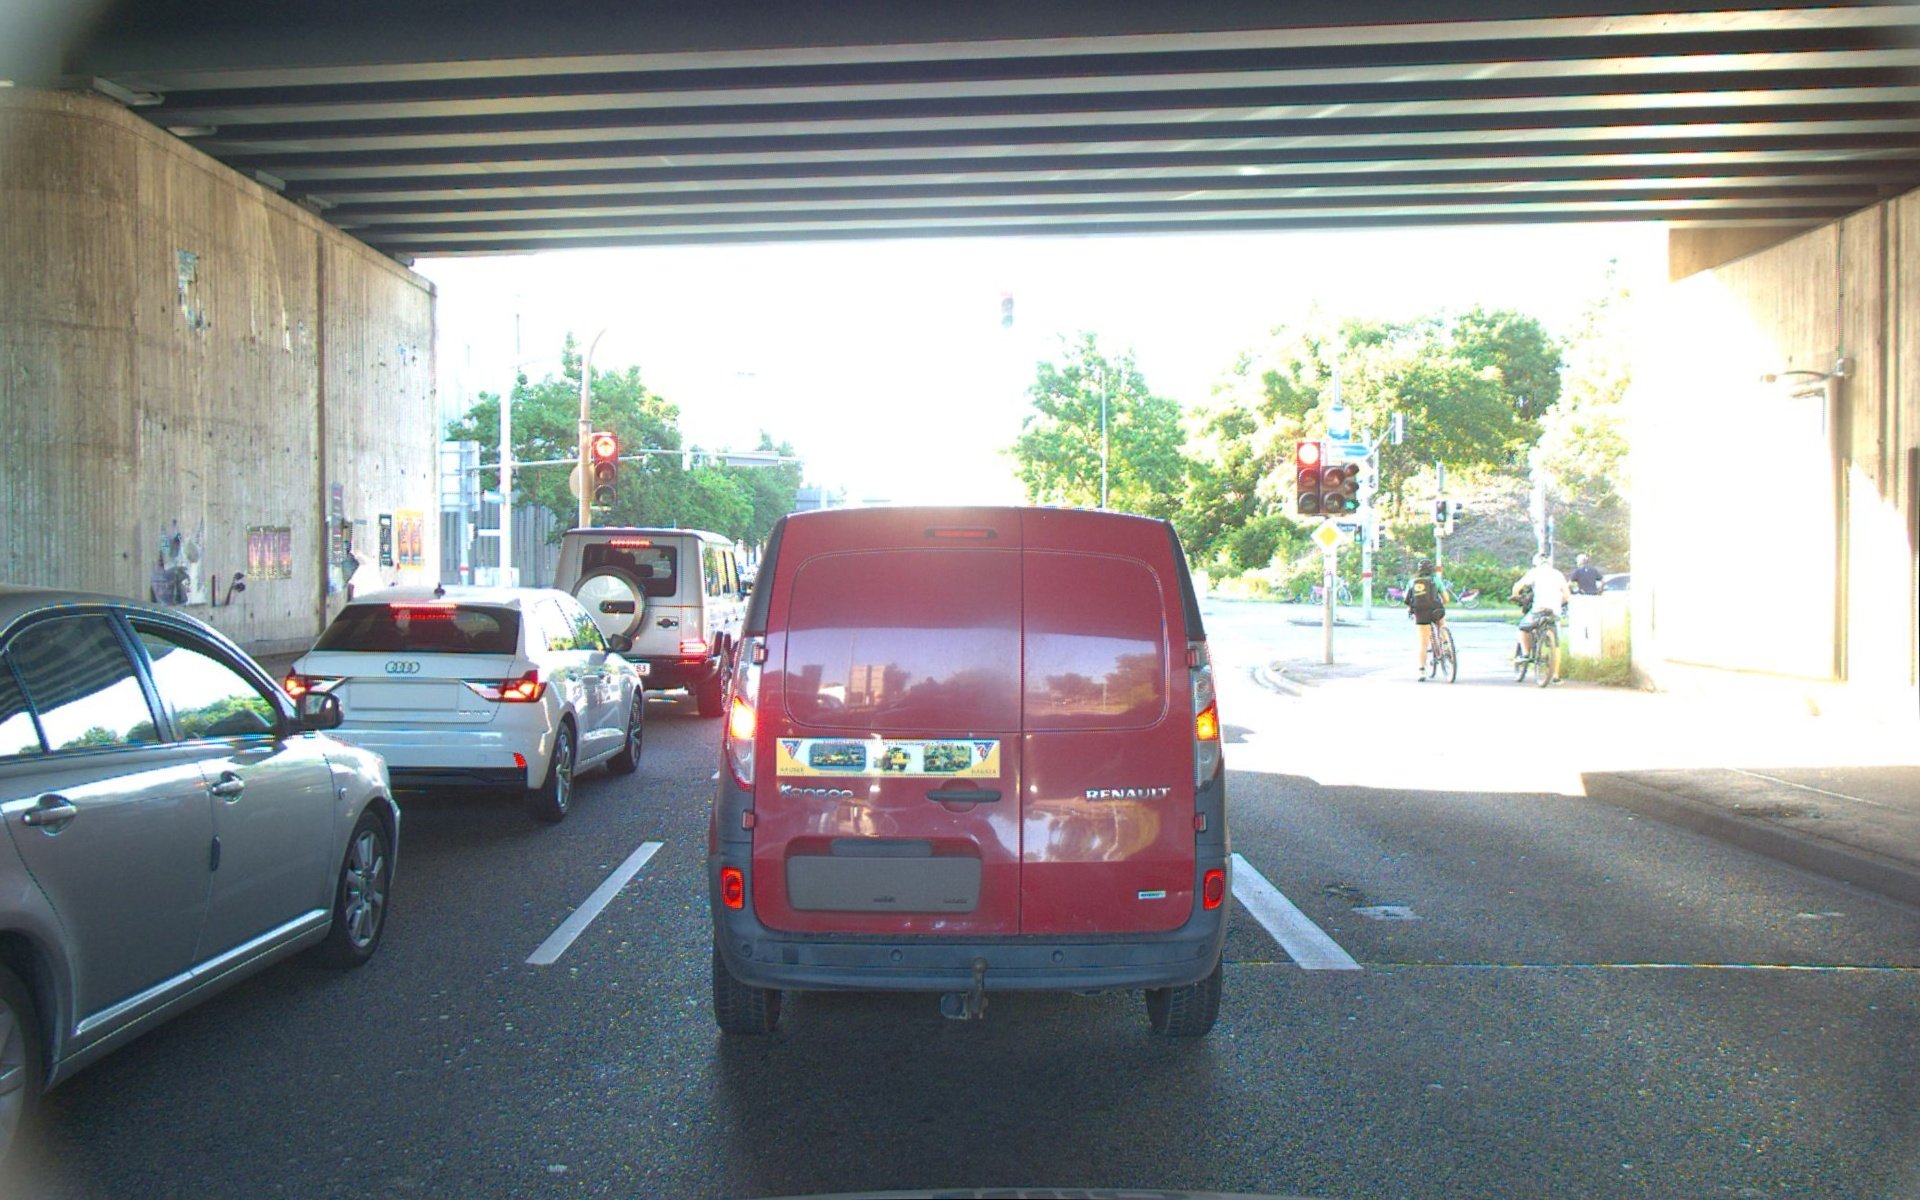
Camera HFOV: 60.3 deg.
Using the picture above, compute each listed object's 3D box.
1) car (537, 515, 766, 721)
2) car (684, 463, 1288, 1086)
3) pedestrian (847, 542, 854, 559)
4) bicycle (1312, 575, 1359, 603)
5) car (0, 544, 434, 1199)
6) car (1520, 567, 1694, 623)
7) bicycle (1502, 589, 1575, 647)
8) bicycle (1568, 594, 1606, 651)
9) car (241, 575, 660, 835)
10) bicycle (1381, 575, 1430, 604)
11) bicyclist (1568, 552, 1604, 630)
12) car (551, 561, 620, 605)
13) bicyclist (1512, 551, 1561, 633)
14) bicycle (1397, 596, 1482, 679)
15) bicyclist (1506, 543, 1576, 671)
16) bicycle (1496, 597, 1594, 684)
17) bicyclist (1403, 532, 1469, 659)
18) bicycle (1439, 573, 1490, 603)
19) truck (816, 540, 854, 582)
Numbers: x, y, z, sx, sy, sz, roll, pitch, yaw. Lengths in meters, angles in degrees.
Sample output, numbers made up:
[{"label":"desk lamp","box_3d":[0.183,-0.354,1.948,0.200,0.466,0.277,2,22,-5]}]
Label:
[{"label":"car","box_3d":[-3.345,0.189,18.795,1.764,2.023,4.588,1,0,-1]},{"label":"car","box_3d":[0.053,0.529,6.917,1.768,1.826,3.999,1,0,-1]},{"label":"pedestrian","box_3d":[-13.733,-6.192,207.939,0.724,2.049,0.638,1,-1,3]},{"label":"bicycle","box_3d":[14.205,-0.414,62.600,1.707,1.041,0.594,1,0,8]},{"label":"car","box_3d":[-3.014,0.623,4.851,1.698,1.506,4.317,0,0,-2]},{"label":"car","box_3d":[19.032,-0.150,48.829,4.451,1.540,1.829,1,0,6]},{"label":"bicycle","box_3d":[10.839,0.325,31.051,0.658,1.041,2.055,1,0,1]},{"label":"bicycle","box_3d":[12.266,0.425,32.392,0.653,1.041,1.751,1,1,20]},{"label":"car","box_3d":[-3.259,0.578,11.349,1.777,1.463,3.730,1,1,-1]},{"label":"bicycle","box_3d":[16.472,-0.382,61.172,1.707,1.041,0.594,1,0,8]},{"label":"bicyclist","box_3d":[12.285,-0.187,32.451,0.636,1.506,0.618,1,1,20]},{"label":"car","box_3d":[-16.126,-0.751,71.383,1.787,1.768,4.630,-2,1,1]},{"label":"bicyclist","box_3d":[10.837,-0.146,31.125,0.651,1.500,0.751,1,-1,1]},{"label":"bicycle","box_3d":[6.322,0.478,21.895,0.579,1.041,1.750,1,0,-1]},{"label":"bicyclist","box_3d":[7.302,0.087,20.798,0.580,1.575,0.769,1,-1,-1]},{"label":"bicycle","box_3d":[7.323,0.490,20.786,0.579,1.041,1.750,1,0,-1]},{"label":"bicyclist","box_3d":[6.320,-0.057,22.007,0.580,1.642,0.942,1,0,-1]},{"label":"bicycle","box_3d":[18.355,-0.434,60.217,1.707,1.041,0.594,1,0,10]},{"label":"truck","box_3d":[-9.660,-2.998,128.500,2.360,3.079,6.657,-2,1,0]}]
